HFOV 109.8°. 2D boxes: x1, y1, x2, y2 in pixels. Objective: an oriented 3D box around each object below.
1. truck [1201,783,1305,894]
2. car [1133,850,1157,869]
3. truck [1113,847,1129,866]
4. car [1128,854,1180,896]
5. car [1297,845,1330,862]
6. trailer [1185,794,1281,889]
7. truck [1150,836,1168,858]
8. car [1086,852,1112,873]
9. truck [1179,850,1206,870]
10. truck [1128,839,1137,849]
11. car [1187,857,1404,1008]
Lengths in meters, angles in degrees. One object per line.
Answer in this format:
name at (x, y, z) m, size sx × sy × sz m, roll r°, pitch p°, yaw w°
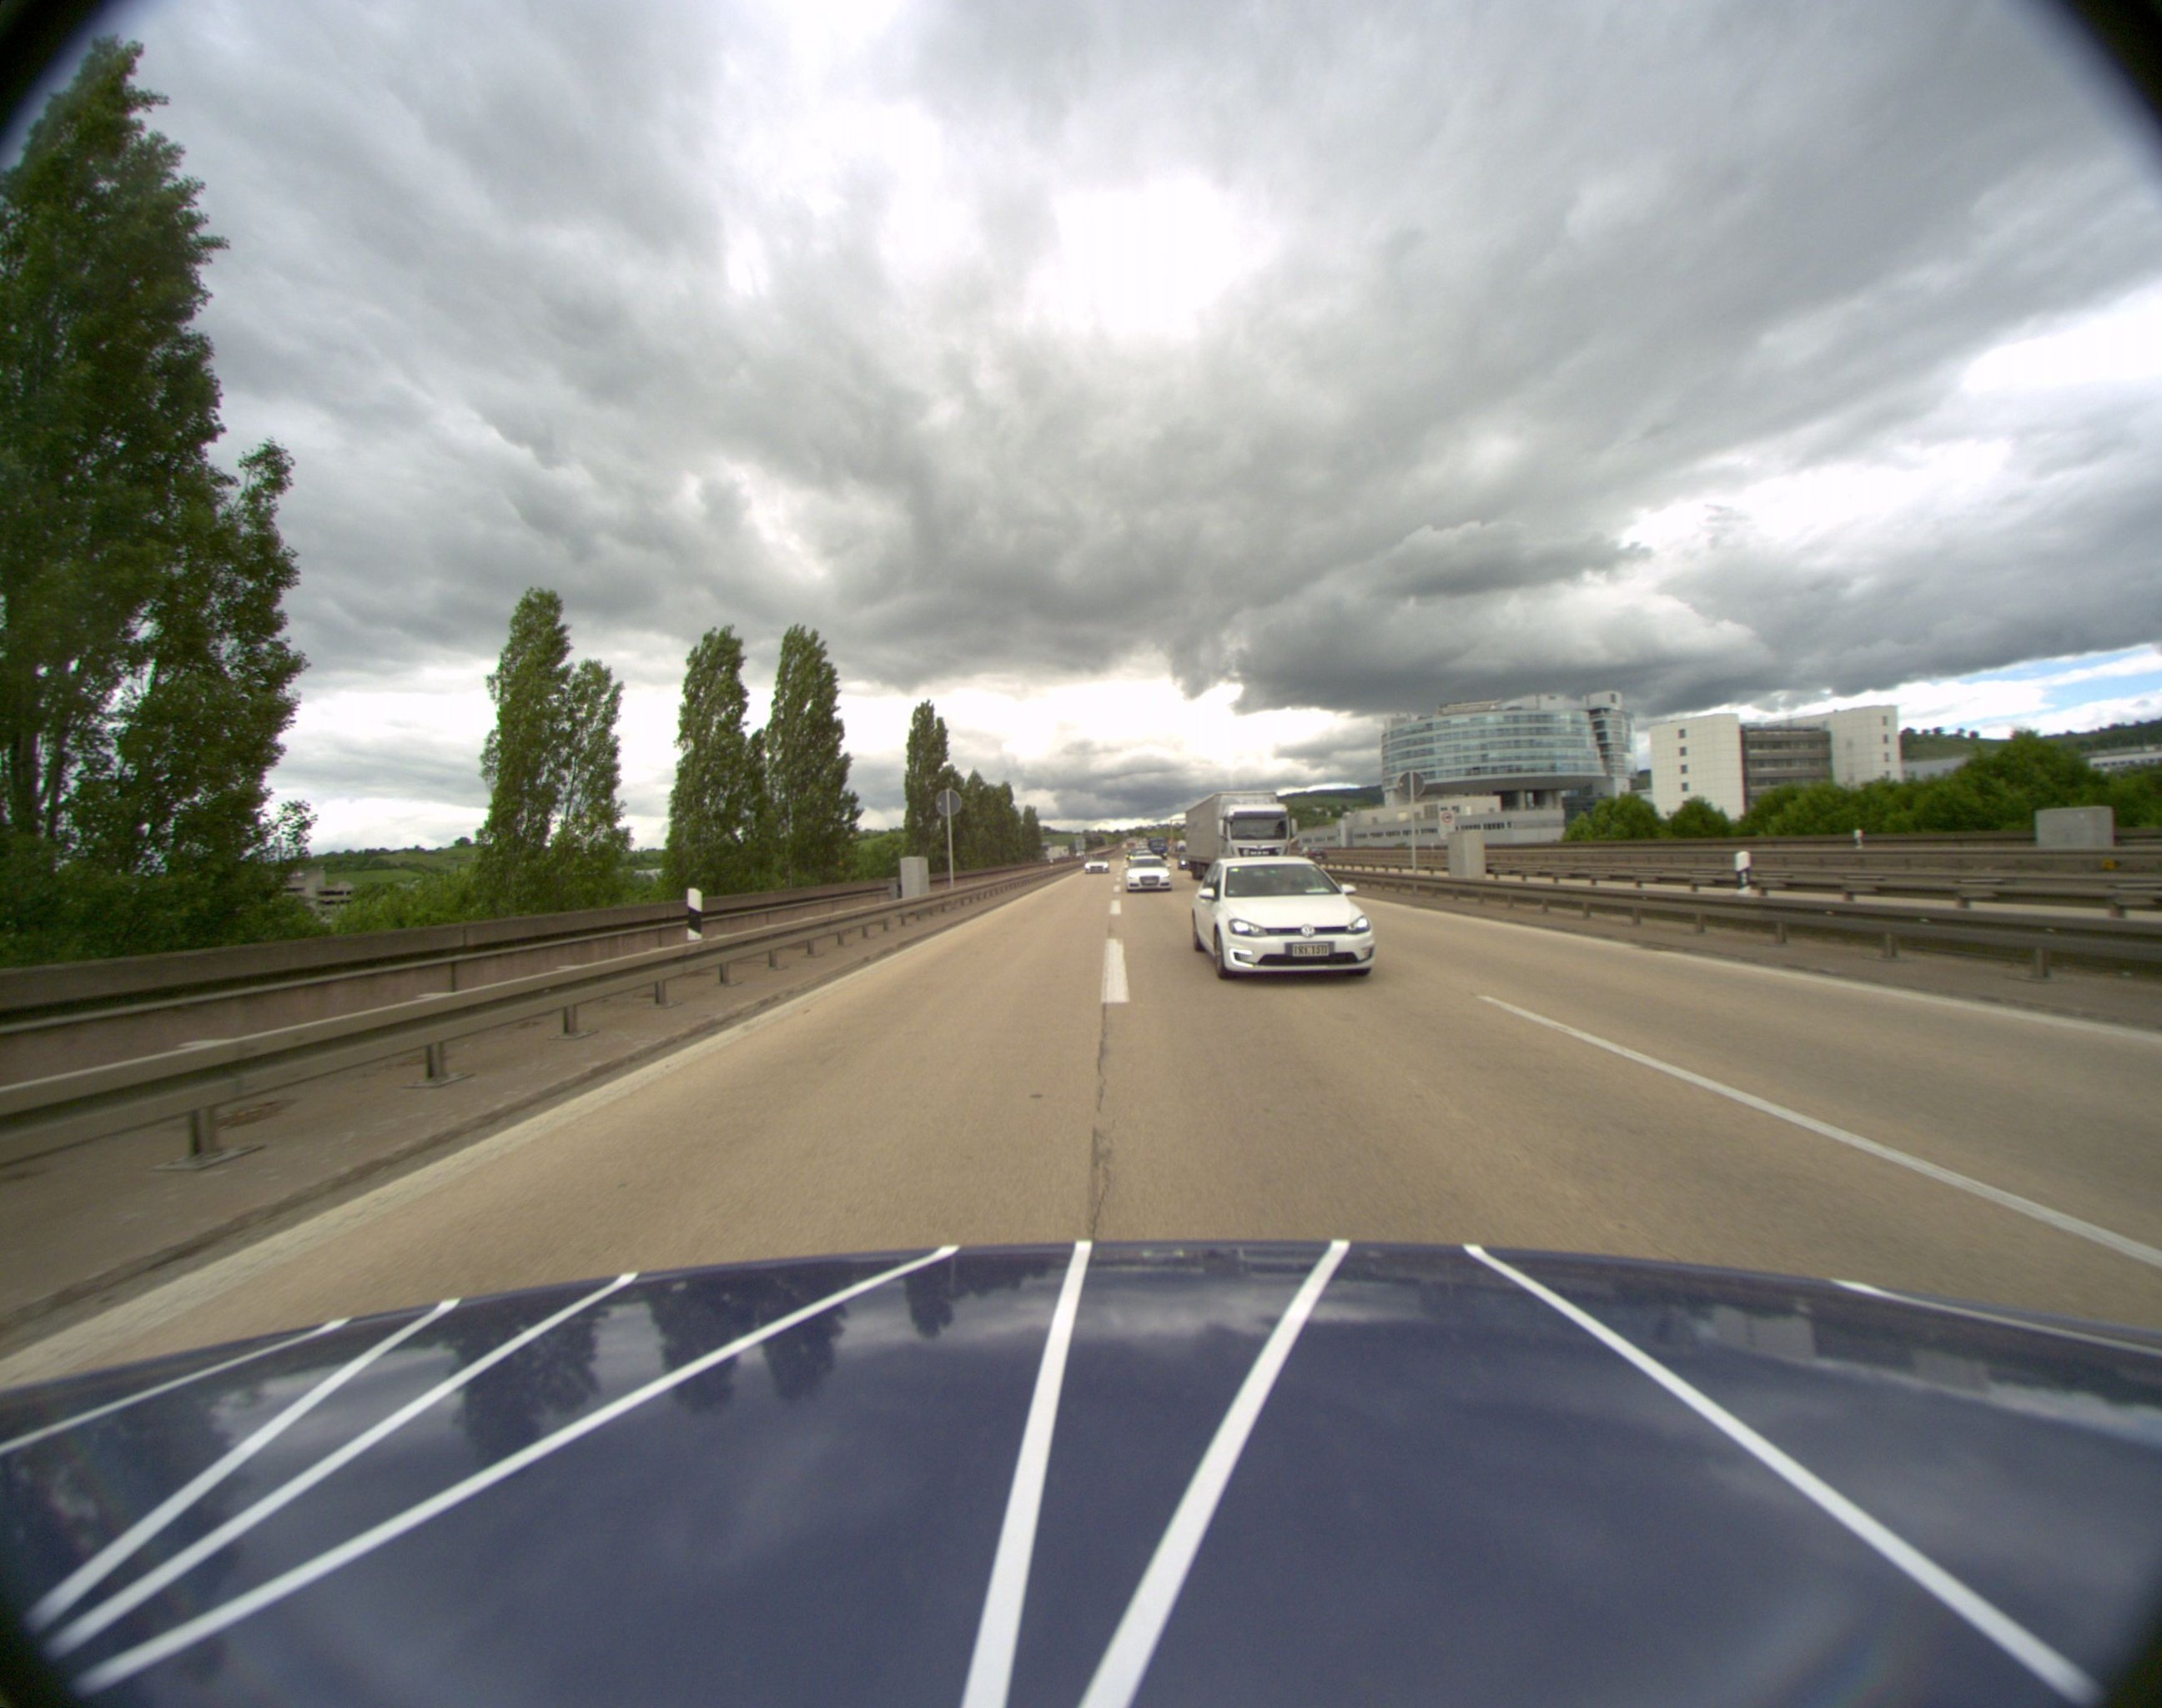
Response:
truck at (6.958, -0.614, 31.577) m, size 3.141 × 4.014 × 5.689 m, roll -3°, pitch 1°, yaw 4°
car at (5.738, 0.467, 68.297) m, size 1.930 × 1.585 × 4.062 m, roll -3°, pitch 1°, yaw 3°
truck at (7.158, 0.341, 135.139) m, size 2.625 × 3.219 × 6.687 m, roll -2°, pitch 1°, yaw 4°
car at (2.958, 0.810, 31.424) m, size 1.930 × 1.499 × 4.062 m, roll -3°, pitch 1°, yaw 3°
car at (20.234, -0.053, 66.234) m, size 1.790 × 1.369 × 4.230 m, roll -3°, pitch 1°, yaw 3°
trailer at (7.514, -0.618, 39.480) m, size 3.188 × 4.003 × 11.767 m, roll -3°, pitch 1°, yaw 4°
truck at (11.691, -1.046, 113.824) m, size 2.336 × 3.219 × 6.687 m, roll -2°, pitch 1°, yaw 4°
car at (1.501, 0.686, 61.504) m, size 1.930 × 1.499 × 4.062 m, roll -3°, pitch 1°, yaw 3°
truck at (9.173, 0.447, 62.833) m, size 1.829 × 1.521 × 3.514 m, roll -2°, pitch 1°, yaw 3°
truck at (16.407, -3.165, 241.842) m, size 2.625 × 3.219 × 6.687 m, roll -2°, pitch 1°, yaw 4°
car at (2.577, 0.857, 10.165) m, size 1.930 × 1.499 × 4.062 m, roll -2°, pitch 1°, yaw 3°
